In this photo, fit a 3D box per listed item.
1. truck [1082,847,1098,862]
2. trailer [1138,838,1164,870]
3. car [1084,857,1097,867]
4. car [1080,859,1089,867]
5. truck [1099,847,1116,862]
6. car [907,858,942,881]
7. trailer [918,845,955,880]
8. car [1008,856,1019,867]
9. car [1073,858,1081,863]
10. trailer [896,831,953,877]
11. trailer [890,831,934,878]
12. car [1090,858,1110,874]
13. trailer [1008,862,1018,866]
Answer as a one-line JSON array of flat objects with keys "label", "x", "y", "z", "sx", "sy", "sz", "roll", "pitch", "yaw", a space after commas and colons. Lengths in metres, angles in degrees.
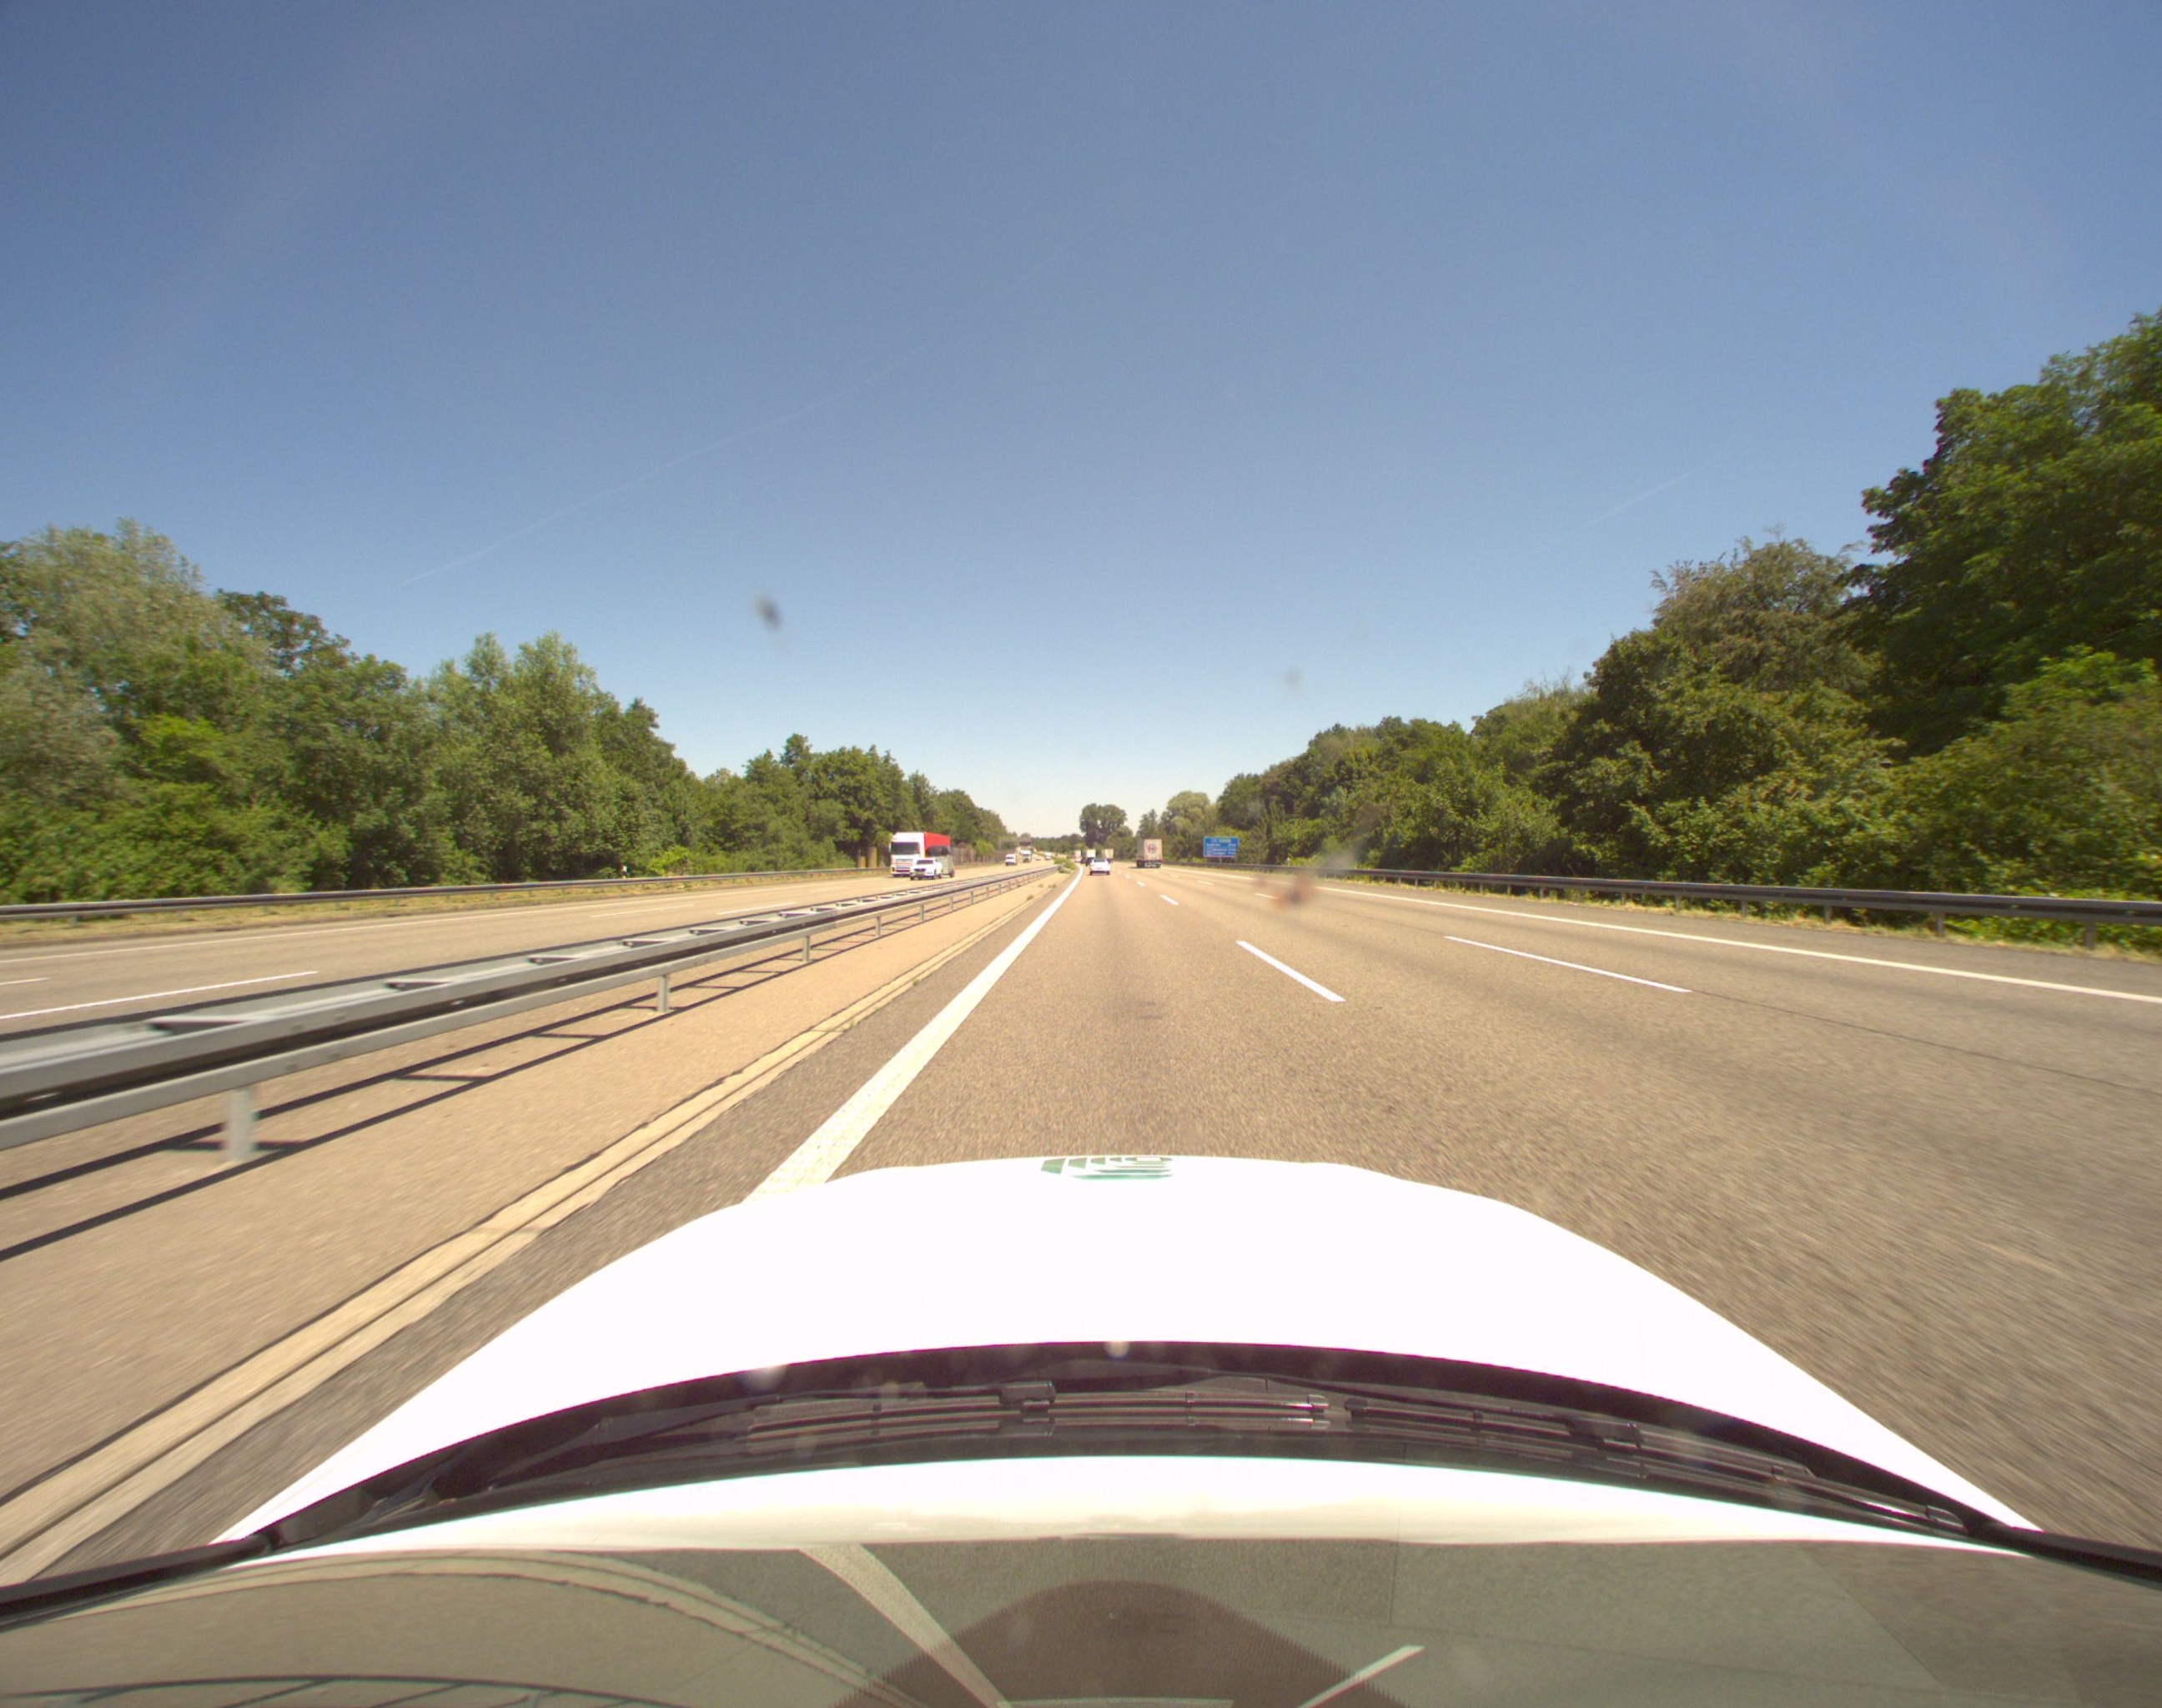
[{"label": "truck", "x": 2.720, "y": 0.217, "z": 250.892, "sx": 3.357, "sy": 4.311, "sz": 10.799, "roll": -1, "pitch": 0, "yaw": -8}, {"label": "trailer", "x": 10.083, "y": 0.038, "z": 118.536, "sx": 2.615, "sy": 4.261, "sz": 14.059, "roll": -1, "pitch": 0, "yaw": 0}, {"label": "car", "x": 1.736, "y": 1.467, "z": 148.845, "sx": 1.989, "sy": 1.772, "sz": 3.995, "roll": -1, "pitch": 0, "yaw": -3}, {"label": "car", "x": 0.797, "y": 2.214, "z": 202.462, "sx": 1.990, "sy": 2.013, "sz": 3.993, "roll": -1, "pitch": 0, "yaw": -5}, {"label": "truck", "x": 7.676, "y": 0.140, "z": 237.693, "sx": 3.486, "sy": 4.311, "sz": 10.970, "roll": -1, "pitch": 0, "yaw": -4}, {"label": "car", "x": -11.680, "y": 1.125, "z": 61.089, "sx": 1.830, "sy": 1.632, "sz": 4.018, "roll": -1, "pitch": 0, "yaw": 0}, {"label": "trailer", "x": -11.594, "y": 0.669, "z": 65.573, "sx": 2.079, "sy": 2.613, "sz": 4.955, "roll": -1, "pitch": 0, "yaw": 0}, {"label": "car", "x": -15.142, "y": 1.772, "z": 182.617, "sx": 2.022, "sy": 2.431, "sz": 5.399, "roll": -1, "pitch": 0, "yaw": -7}, {"label": "car", "x": -1.210, "y": 2.005, "z": 253.514, "sx": 1.723, "sy": 1.783, "sz": 3.988, "roll": -1, "pitch": 0, "yaw": -9}, {"label": "trailer", "x": -15.149, "y": 0.060, "z": 80.071, "sx": 2.675, "sy": 4.068, "sz": 14.051, "roll": -1, "pitch": 0, "yaw": 1}, {"label": "trailer", "x": -15.241, "y": 0.039, "z": 73.791, "sx": 2.679, "sy": 4.042, "sz": 6.036, "roll": -1, "pitch": 0, "yaw": 0}, {"label": "car", "x": 1.713, "y": 1.064, "z": 73.084, "sx": 1.709, "sy": 1.369, "sz": 3.376, "roll": -1, "pitch": 0, "yaw": 1}, {"label": "trailer", "x": -15.780, "y": 2.379, "z": 188.411, "sx": 2.159, "sy": 0.807, "sz": 6.266, "roll": -1, "pitch": 0, "yaw": -7}]
